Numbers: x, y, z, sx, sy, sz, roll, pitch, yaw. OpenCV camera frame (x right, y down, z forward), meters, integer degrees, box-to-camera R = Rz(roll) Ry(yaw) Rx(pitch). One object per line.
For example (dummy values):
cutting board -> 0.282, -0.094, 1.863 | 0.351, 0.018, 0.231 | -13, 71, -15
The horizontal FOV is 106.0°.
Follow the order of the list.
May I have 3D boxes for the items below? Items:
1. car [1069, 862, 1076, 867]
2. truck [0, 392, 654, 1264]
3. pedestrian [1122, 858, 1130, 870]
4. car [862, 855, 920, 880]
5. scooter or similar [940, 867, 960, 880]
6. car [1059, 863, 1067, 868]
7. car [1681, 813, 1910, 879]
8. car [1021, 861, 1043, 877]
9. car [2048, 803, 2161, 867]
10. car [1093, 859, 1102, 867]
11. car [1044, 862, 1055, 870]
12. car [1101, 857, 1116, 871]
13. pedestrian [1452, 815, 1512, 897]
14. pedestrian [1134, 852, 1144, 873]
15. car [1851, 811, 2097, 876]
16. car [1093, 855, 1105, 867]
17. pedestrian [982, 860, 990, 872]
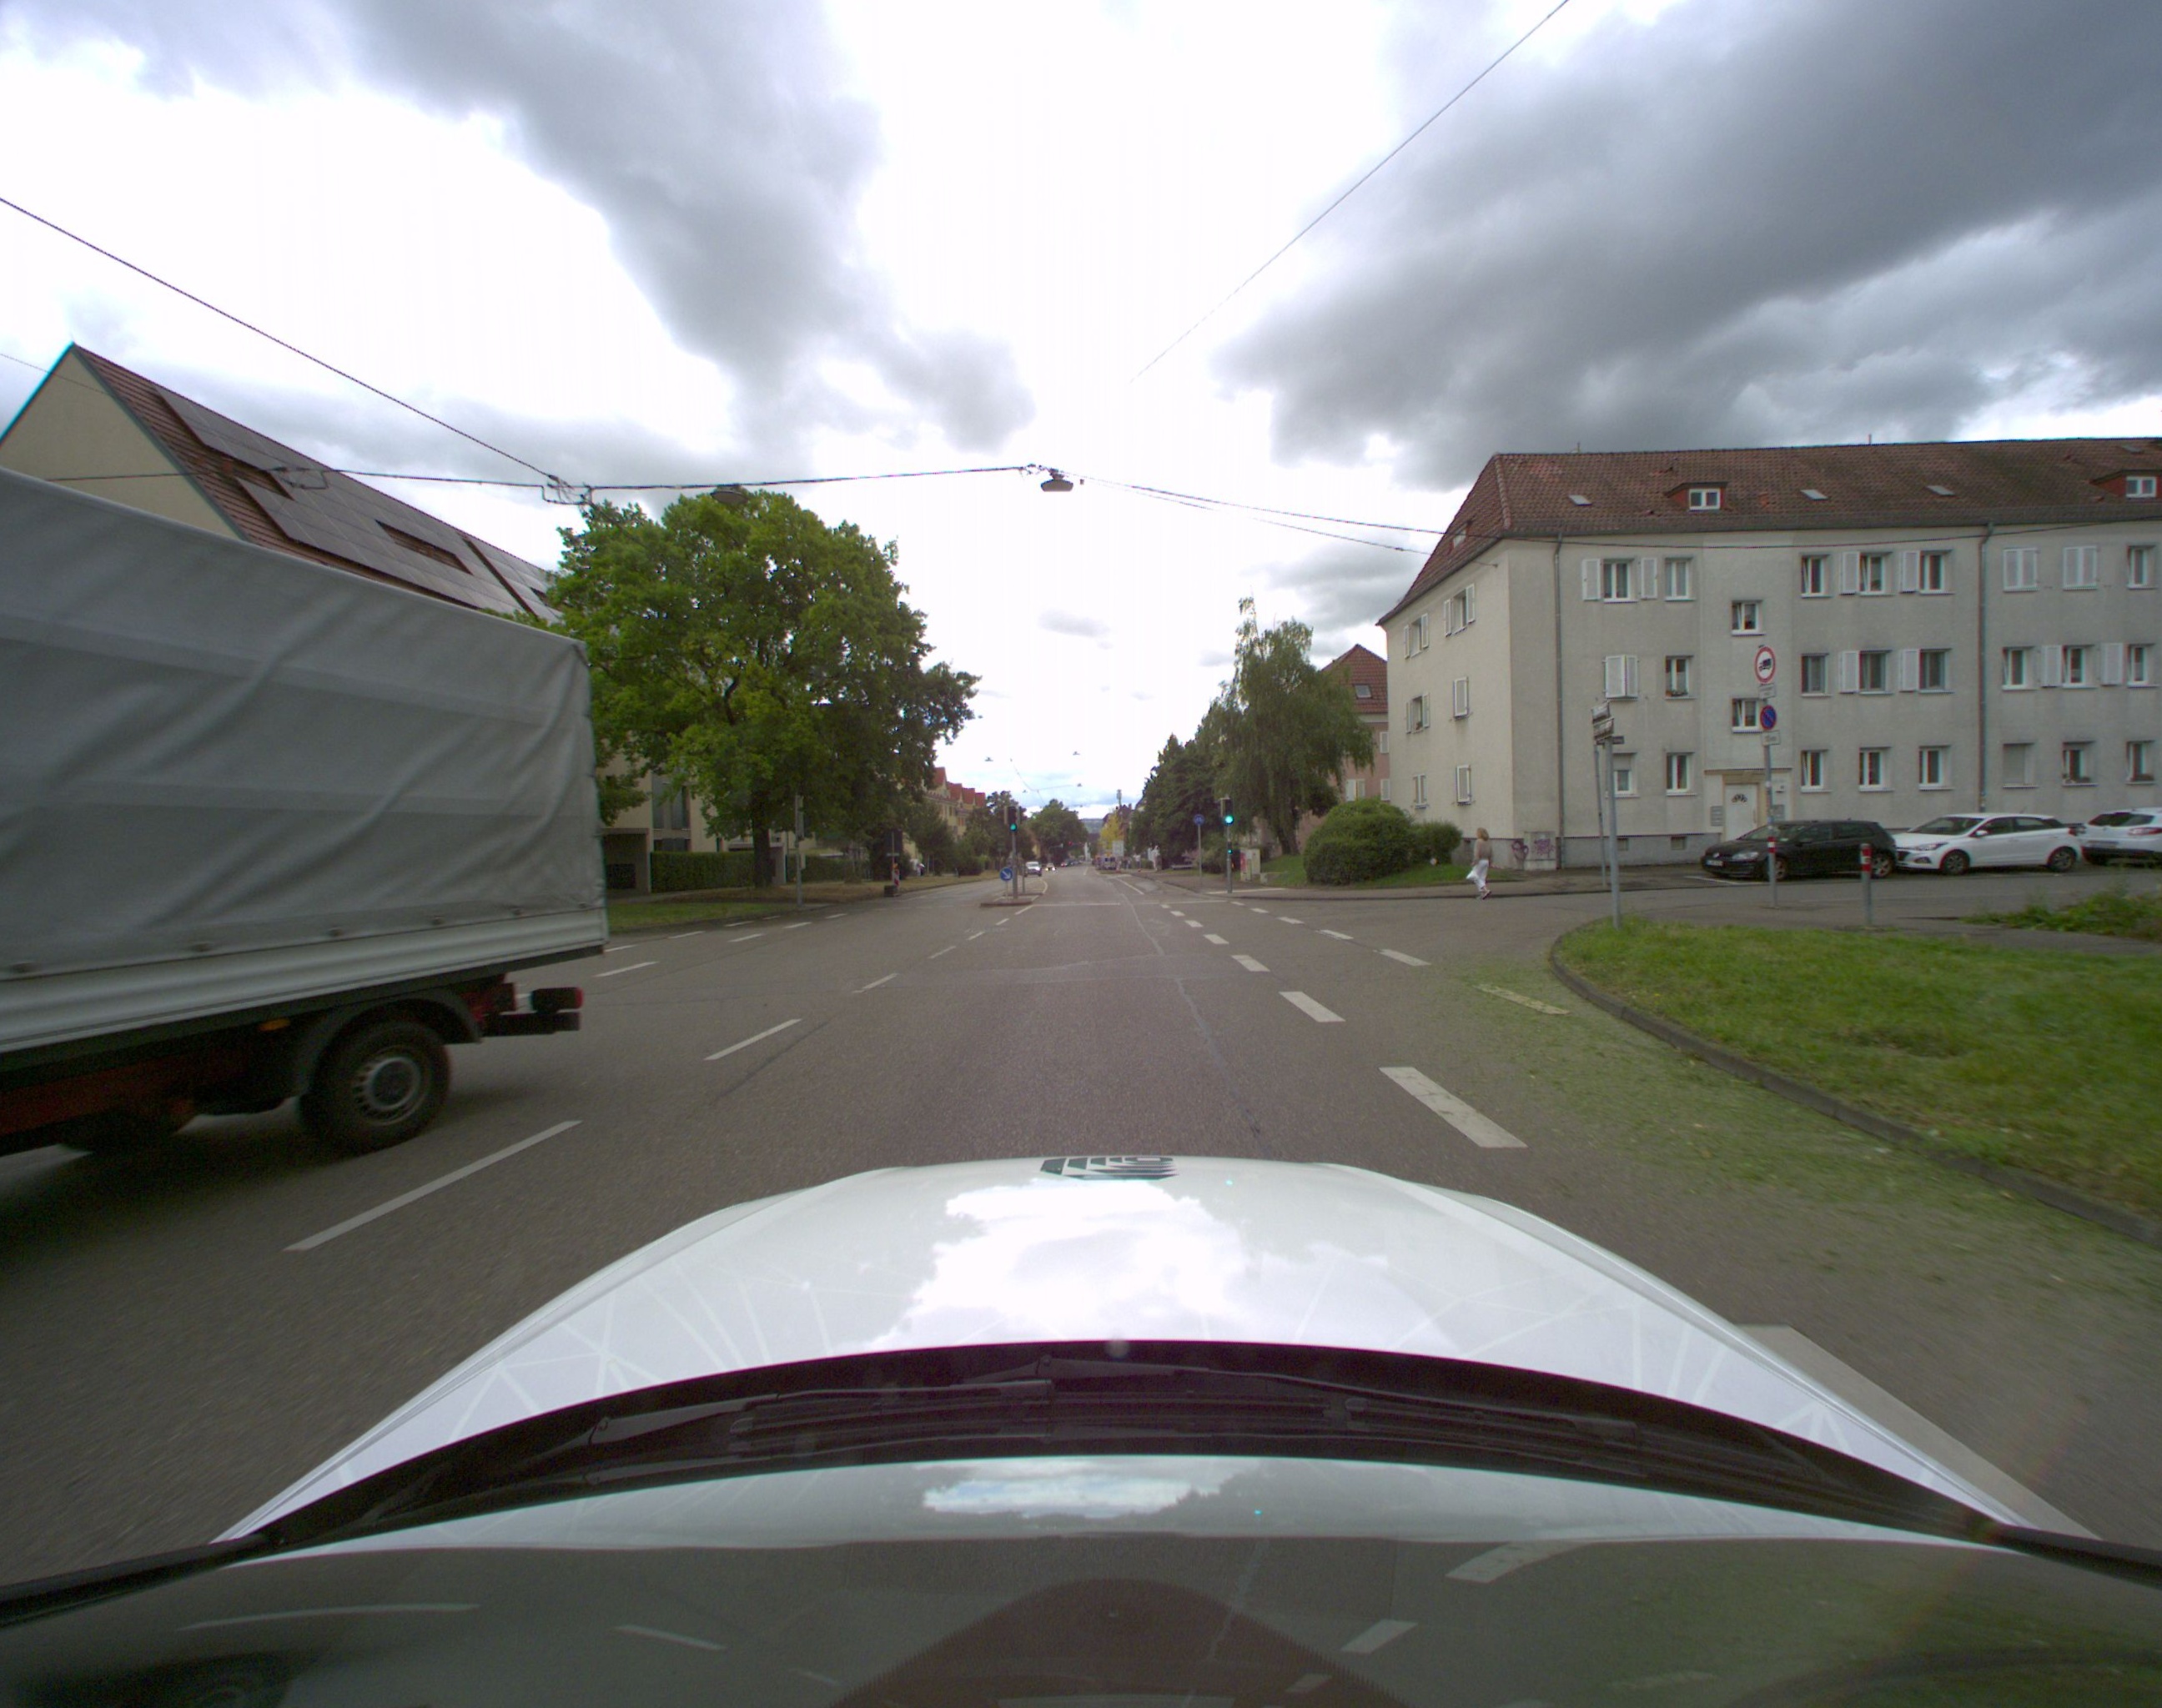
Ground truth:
car -> -2.660, 3.137, 251.915 | 1.987, 1.505, 3.999 | -1, -1, 0
truck -> -5.352, -0.083, 3.198 | 2.516, 3.307, 7.271 | -2, 0, 10
pedestrian -> 7.132, 1.583, 128.934 | 1.195, 1.810, 1.301 | -1, -1, 1
car -> -12.930, 0.922, 55.623 | 3.439, 1.596, 1.999 | -1, -1, -1
scooter or similar -> -11.564, 1.712, 71.831 | 1.691, 1.082, 0.744 | -1, -1, -8
car -> -5.074, 3.171, 229.516 | 1.987, 1.505, 3.999 | -1, -1, 0
car -> 17.957, -0.173, 20.641 | 3.969, 1.537, 2.002 | -1, -1, 3
car -> -4.942, 1.505, 82.584 | 1.987, 1.505, 3.999 | -1, -1, 0
car -> 27.871, -0.526, 20.620 | 4.265, 1.536, 2.003 | -1, 2, 3
car -> 3.741, 2.035, 186.022 | 1.988, 1.656, 3.996 | -1, -1, -2
car -> -6.596, 2.534, 171.108 | 1.987, 1.505, 3.999 | -1, -1, 0
car -> 3.942, 1.400, 116.208 | 1.986, 2.014, 4.001 | -1, -1, 2
pedestrian -> 9.590, 0.045, 19.511 | 0.749, 1.855, 0.950 | -4, 0, -14
pedestrian -> 6.231, 0.941, 87.177 | 0.985, 2.207, 0.939 | -1, -1, 4
car -> 22.766, -0.240, 20.916 | 3.969, 1.537, 2.002 | -1, -1, 3
car -> 3.245, 1.268, 149.518 | 1.989, 2.172, 3.996 | -1, -1, -3
pedestrian -> -16.637, 2.104, 142.768 | 1.183, 2.014, 0.978 | -1, -1, -3
